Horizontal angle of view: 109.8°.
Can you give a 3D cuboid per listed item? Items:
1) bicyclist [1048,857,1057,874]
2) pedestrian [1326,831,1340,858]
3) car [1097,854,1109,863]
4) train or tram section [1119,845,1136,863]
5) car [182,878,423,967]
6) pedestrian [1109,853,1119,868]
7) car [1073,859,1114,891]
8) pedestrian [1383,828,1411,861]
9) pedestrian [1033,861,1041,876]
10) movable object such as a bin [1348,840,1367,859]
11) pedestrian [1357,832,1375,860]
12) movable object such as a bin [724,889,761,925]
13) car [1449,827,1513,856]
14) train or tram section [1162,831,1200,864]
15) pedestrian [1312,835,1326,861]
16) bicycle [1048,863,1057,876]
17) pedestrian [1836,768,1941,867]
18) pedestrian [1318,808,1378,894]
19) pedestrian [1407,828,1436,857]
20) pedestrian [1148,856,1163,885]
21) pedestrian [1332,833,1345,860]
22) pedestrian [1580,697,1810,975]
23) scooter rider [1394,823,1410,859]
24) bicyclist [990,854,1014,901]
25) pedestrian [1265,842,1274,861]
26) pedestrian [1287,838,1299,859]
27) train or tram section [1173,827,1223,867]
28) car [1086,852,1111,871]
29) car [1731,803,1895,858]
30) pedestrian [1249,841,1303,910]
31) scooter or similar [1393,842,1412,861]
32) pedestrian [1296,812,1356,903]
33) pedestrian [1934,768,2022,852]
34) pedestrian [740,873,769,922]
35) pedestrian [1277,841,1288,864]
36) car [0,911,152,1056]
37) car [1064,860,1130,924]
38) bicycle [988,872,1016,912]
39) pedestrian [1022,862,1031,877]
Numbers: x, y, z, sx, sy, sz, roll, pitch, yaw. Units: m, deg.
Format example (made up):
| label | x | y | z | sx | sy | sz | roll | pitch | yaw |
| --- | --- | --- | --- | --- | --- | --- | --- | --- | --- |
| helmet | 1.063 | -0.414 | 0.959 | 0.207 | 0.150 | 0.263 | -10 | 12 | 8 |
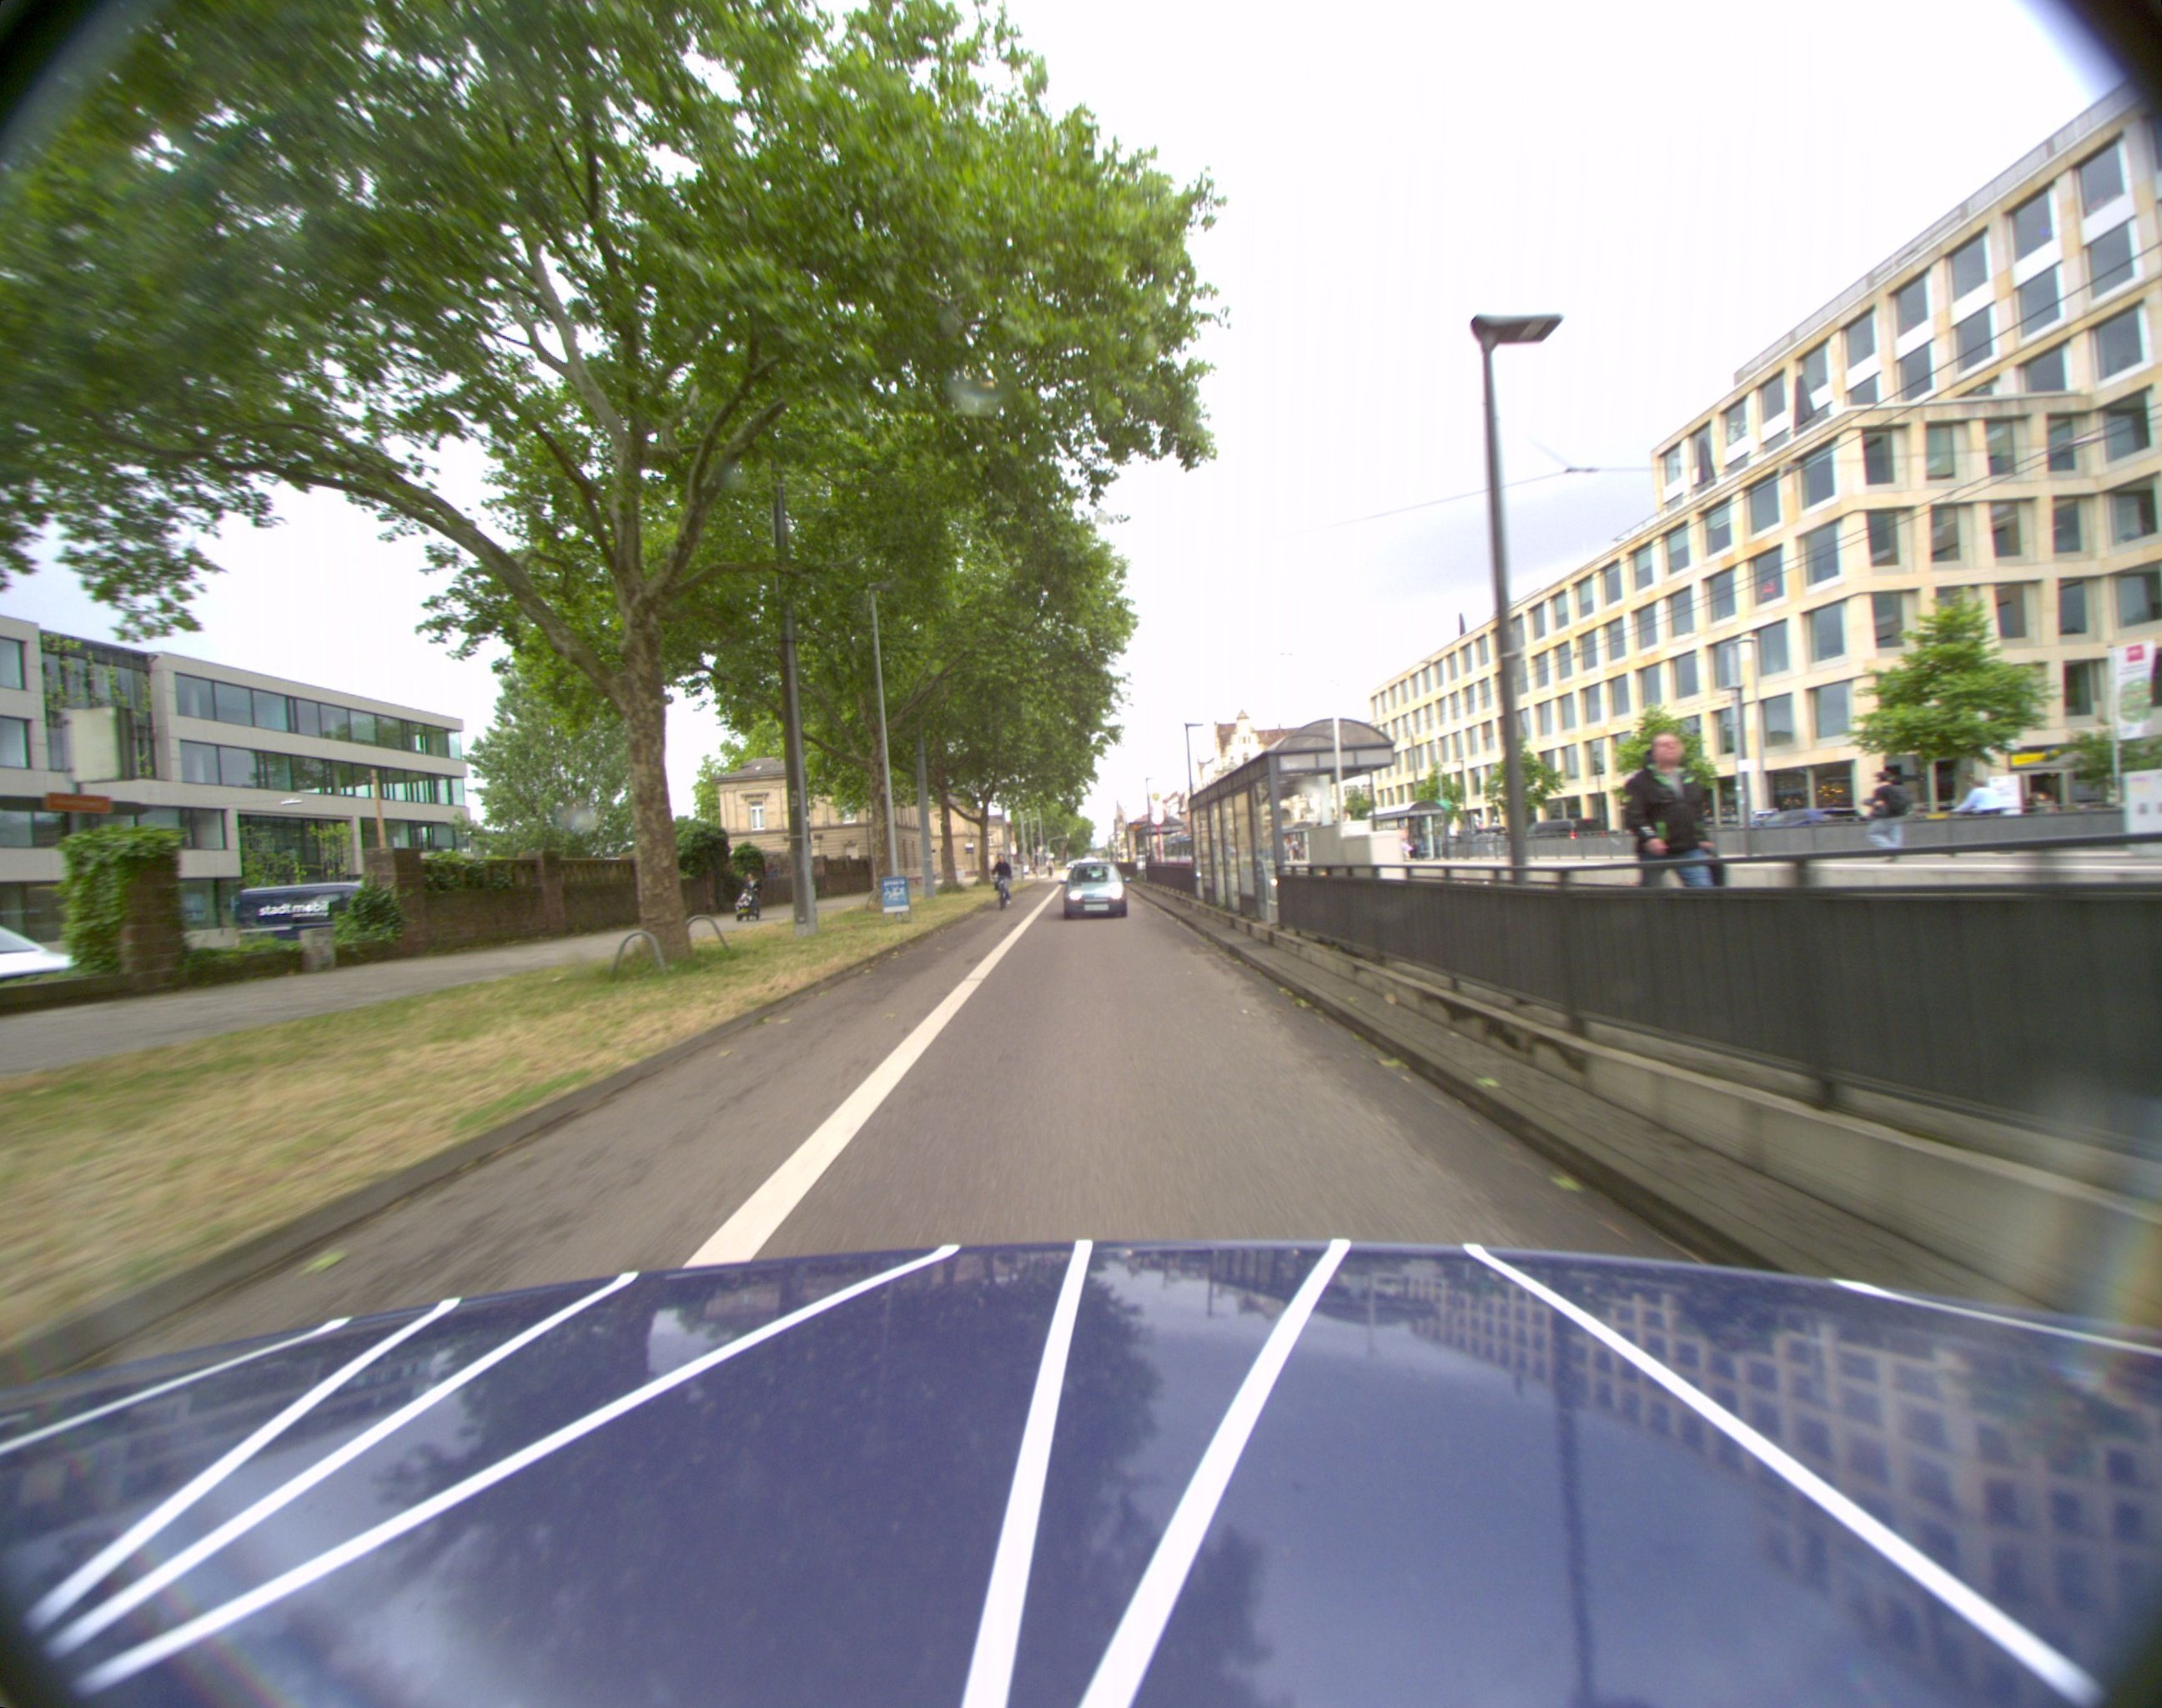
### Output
| label | x | y | z | sx | sy | sz | roll | pitch | yaw |
| --- | --- | --- | --- | --- | --- | --- | --- | --- | --- |
| bicyclist | -2.842 | 1.152 | 75.935 | 0.812 | 1.591 | 1.189 | -4 | 1 | 0 |
| pedestrian | 17.917 | -0.654 | 54.048 | 0.700 | 1.844 | 0.721 | -4 | 1 | 7 |
| car | 4.184 | 0.826 | 145.711 | 1.869 | 1.630 | 3.775 | -4 | 0 | -1 |
| train or tram section | 9.717 | -0.022 | 159.708 | 2.651 | 3.417 | 13.618 | -4 | 0 | 1 |
| car | -21.361 | 1.833 | 21.017 | 4.359 | 2.002 | 1.999 | -4 | 1 | -2 |
| pedestrian | 3.890 | 0.781 | 89.090 | 0.862 | 1.633 | 0.651 | -5 | 1 | -41 |
| car | 0.669 | 1.098 | 41.147 | 1.998 | 1.443 | 4.100 | -4 | 0 | 1 |
| pedestrian | 17.049 | -0.519 | 40.974 | 1.040 | 1.676 | 0.939 | -4 | 1 | 4 |
| pedestrian | -4.516 | 1.517 | 78.584 | 0.552 | 1.520 | 0.639 | -3 | 1 | 18 |
| movable object such as a bin | 15.933 | -0.266 | 43.748 | 0.622 | 1.015 | 0.721 | -4 | 1 | -32 |
| pedestrian | 16.498 | -0.458 | 43.960 | 0.580 | 1.598 | 0.655 | -4 | 1 | -32 |
| movable object such as a bin | -11.319 | 1.768 | 25.440 | 0.613 | 1.105 | 1.015 | -4 | 0 | 6 |
| car | 25.166 | -0.790 | 47.990 | 1.998 | 1.652 | 4.000 | -4 | 0 | 3 |
| train or tram section | 12.004 | -0.791 | 92.205 | 2.862 | 3.619 | 11.698 | -4 | 0 | 0 |
| pedestrian | 16.445 | -0.420 | 52.571 | 0.589 | 1.759 | 0.596 | -4 | 1 | -36 |
| bicycle | -2.814 | 1.560 | 75.834 | 0.815 | 1.163 | 2.276 | -4 | 1 | -1 |
| pedestrian | 15.513 | -0.671 | 14.637 | 0.713 | 1.785 | 1.160 | -4 | 1 | -1 |
| pedestrian | 5.809 | -0.063 | 16.581 | 0.672 | 1.783 | 1.112 | -4 | 1 | -12 |
| pedestrian | 17.433 | -0.585 | 38.906 | 1.040 | 1.364 | 0.939 | -4 | 1 | 4 |
| pedestrian | 3.705 | 0.814 | 37.720 | 0.612 | 1.364 | 0.600 | -4 | 1 | 1 |
| pedestrian | 15.295 | -0.438 | 45.074 | 0.536 | 1.598 | 0.565 | -4 | 1 | 7 |
| pedestrian | 4.848 | -0.134 | 6.073 | 1.061 | 2.002 | 0.840 | -4 | 1 | 1 |
| scooter rider | 14.896 | -0.591 | 35.283 | 0.404 | 1.640 | 0.554 | -4 | 1 | 1 |
| bicyclist | -2.617 | 0.768 | 25.183 | 0.642 | 1.522 | 0.664 | -4 | 1 | -1 |
| pedestrian | 15.708 | -0.211 | 63.417 | 0.596 | 1.578 | 0.589 | -4 | 1 | 8 |
| pedestrian | 16.401 | -0.425 | 58.815 | 0.589 | 1.578 | 0.596 | -4 | 1 | -18 |
| train or tram section | 12.054 | -0.695 | 79.547 | 2.862 | 3.670 | 13.518 | -4 | 0 | 0 |
| car | 1.507 | 0.665 | 65.755 | 1.998 | 1.443 | 4.100 | -4 | 0 | 1 |
| car | 25.712 | -0.789 | 26.920 | 1.998 | 1.652 | 4.000 | -4 | 0 | 3 |
| pedestrian | 3.877 | 0.416 | 15.119 | 0.837 | 1.296 | 0.613 | -4 | 1 | -1 |
| scooter or similar | 14.934 | -0.120 | 35.292 | 0.388 | 0.844 | 1.004 | -4 | 1 | 0 |
| pedestrian | 5.034 | 0.071 | 15.662 | 0.672 | 1.783 | 1.112 | -4 | 1 | -8 |
| pedestrian | 22.778 | -1.089 | 19.311 | 0.935 | 2.002 | 1.032 | -4 | 1 | -1 |
| pedestrian | -11.291 | 1.492 | 26.307 | 0.559 | 1.623 | 0.670 | -4 | 1 | 6 |
| pedestrian | 15.534 | -0.118 | 58.615 | 0.596 | 1.759 | 0.589 | -4 | 1 | 8 |
| car | -18.612 | 2.162 | 12.100 | 4.889 | 2.002 | 1.999 | -4 | 1 | -2 |
| car | 0.443 | 0.943 | 20.314 | 1.534 | 1.464 | 3.353 | -3 | 1 | 2 |
| bicycle | -2.577 | 1.233 | 25.099 | 0.654 | 1.143 | 2.282 | -4 | 1 | -1 |
| pedestrian | -6.739 | 1.915 | 93.961 | 0.720 | 1.668 | 1.000 | -4 | 1 | 10 |
